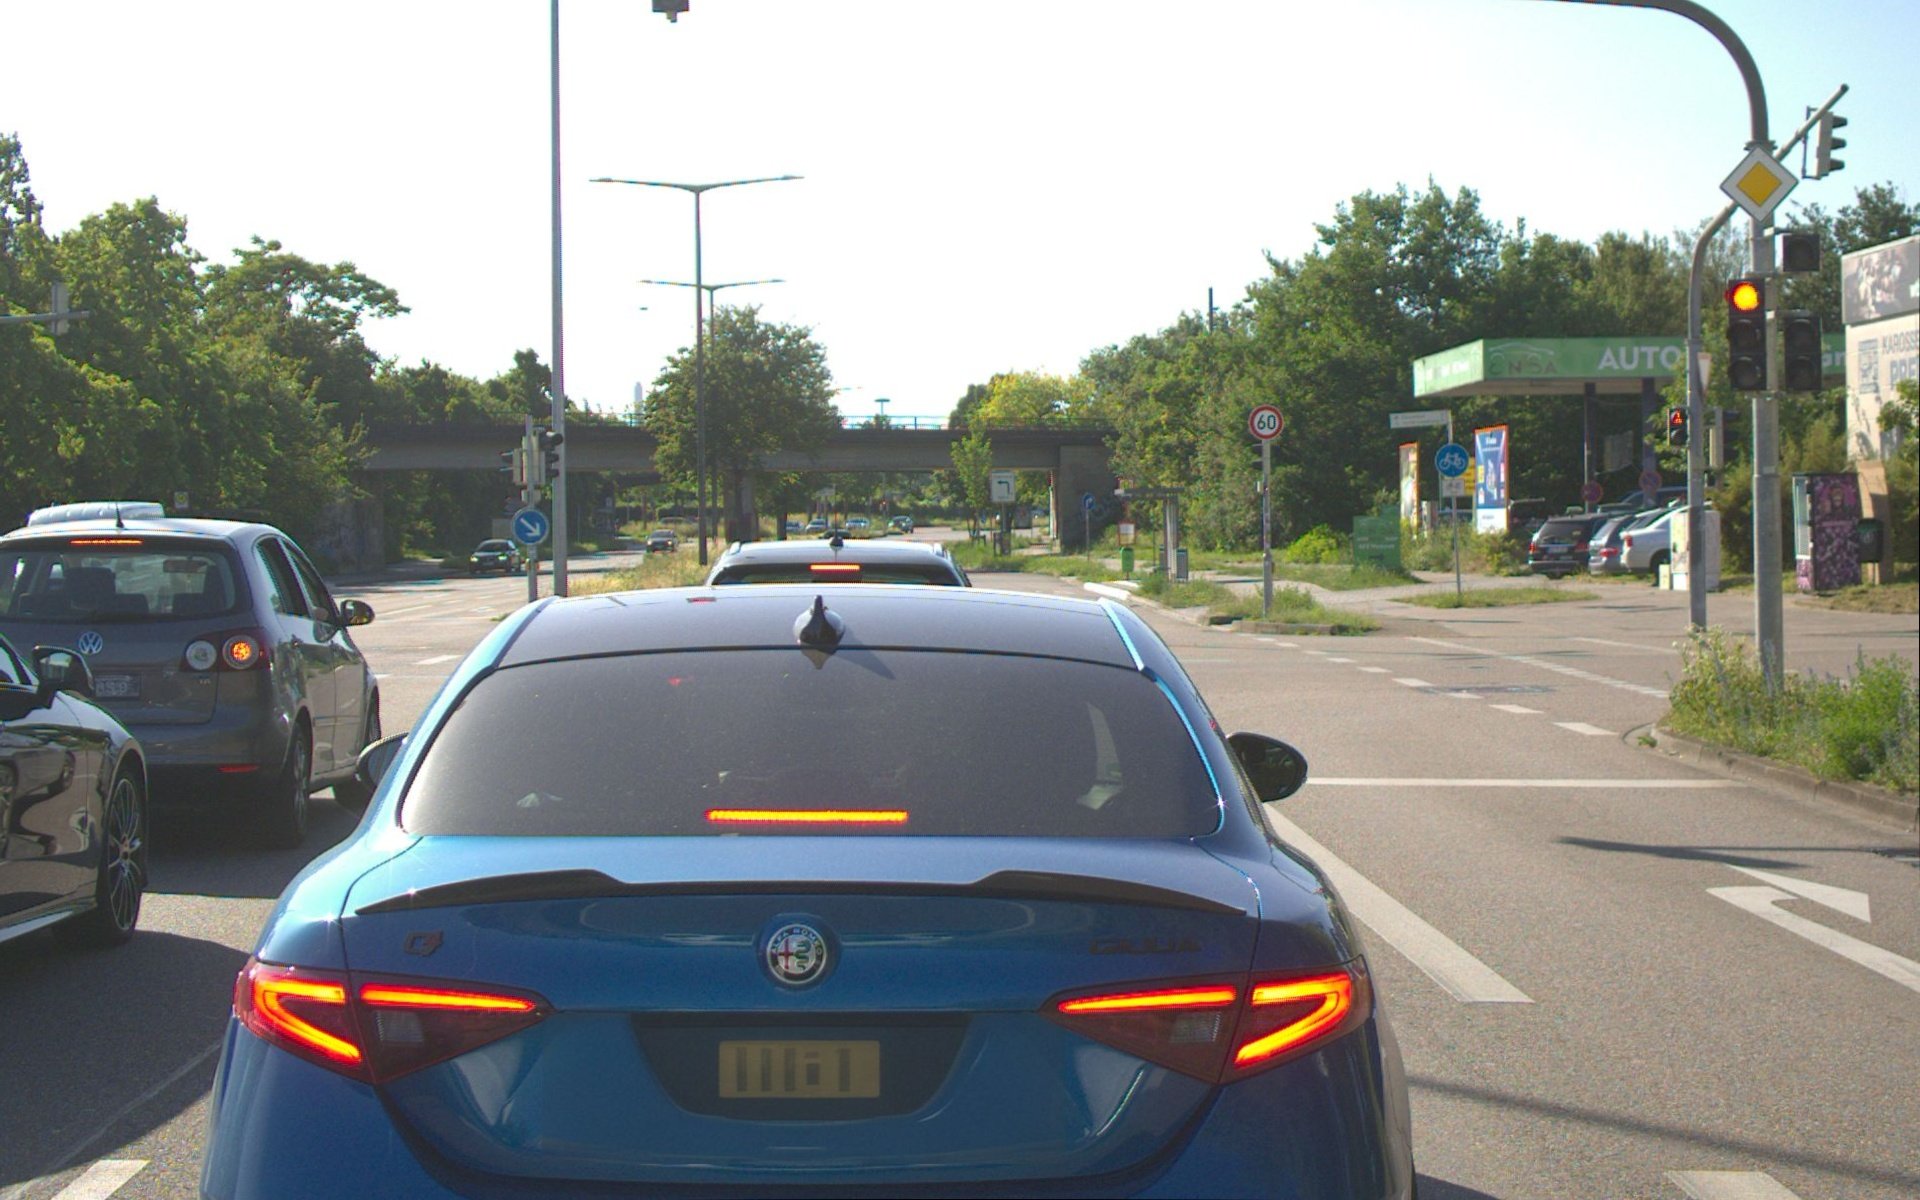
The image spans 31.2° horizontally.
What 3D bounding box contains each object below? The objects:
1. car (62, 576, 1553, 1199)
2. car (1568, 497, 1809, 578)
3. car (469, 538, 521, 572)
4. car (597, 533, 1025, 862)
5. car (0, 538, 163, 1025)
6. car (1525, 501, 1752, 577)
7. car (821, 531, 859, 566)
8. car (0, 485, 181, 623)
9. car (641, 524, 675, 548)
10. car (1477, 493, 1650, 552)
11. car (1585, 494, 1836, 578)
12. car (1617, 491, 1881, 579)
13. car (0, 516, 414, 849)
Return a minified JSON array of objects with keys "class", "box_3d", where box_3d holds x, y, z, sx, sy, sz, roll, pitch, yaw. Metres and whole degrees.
[{"class":"car","box_3d":[-0.258,0.681,6.598,1.895,1.413,4.403,1,1,-2]},{"class":"car","box_3d":[14.820,-1.264,70.094,4.489,1.449,1.858,-2,1,1]},{"class":"car","box_3d":[-21.318,-2.067,157.604,1.759,1.485,4.478,-2,1,0]},{"class":"car","box_3d":[-0.713,0.405,17.231,1.850,1.413,4.403,1,1,-2]},{"class":"car","box_3d":[-3.824,0.541,10.609,1.796,1.485,4.476,1,1,-2]},{"class":"car","box_3d":[14.600,-1.312,74.144,4.489,1.449,1.858,-2,1,1]},{"class":"car","box_3d":[-6.267,-2.702,180.220,1.891,1.809,4.000,1,1,-1]},{"class":"car","box_3d":[-16.839,-0.895,66.779,2.022,2.439,5.822,-4,1,-1]},{"class":"car","box_3d":[-19.199,-4.058,218.698,1.759,1.485,4.478,-2,1,0]},{"class":"car","box_3d":[17.048,-2.193,97.308,4.551,1.485,1.765,-2,1,1]},{"class":"car","box_3d":[14.663,-1.248,67.340,4.489,1.449,1.858,-2,1,1]},{"class":"car","box_3d":[14.780,-1.209,64.561,4.489,1.449,1.858,-2,1,1]},{"class":"car","box_3d":[-3.989,0.347,17.708,1.759,1.485,4.403,1,1,-2]}]
